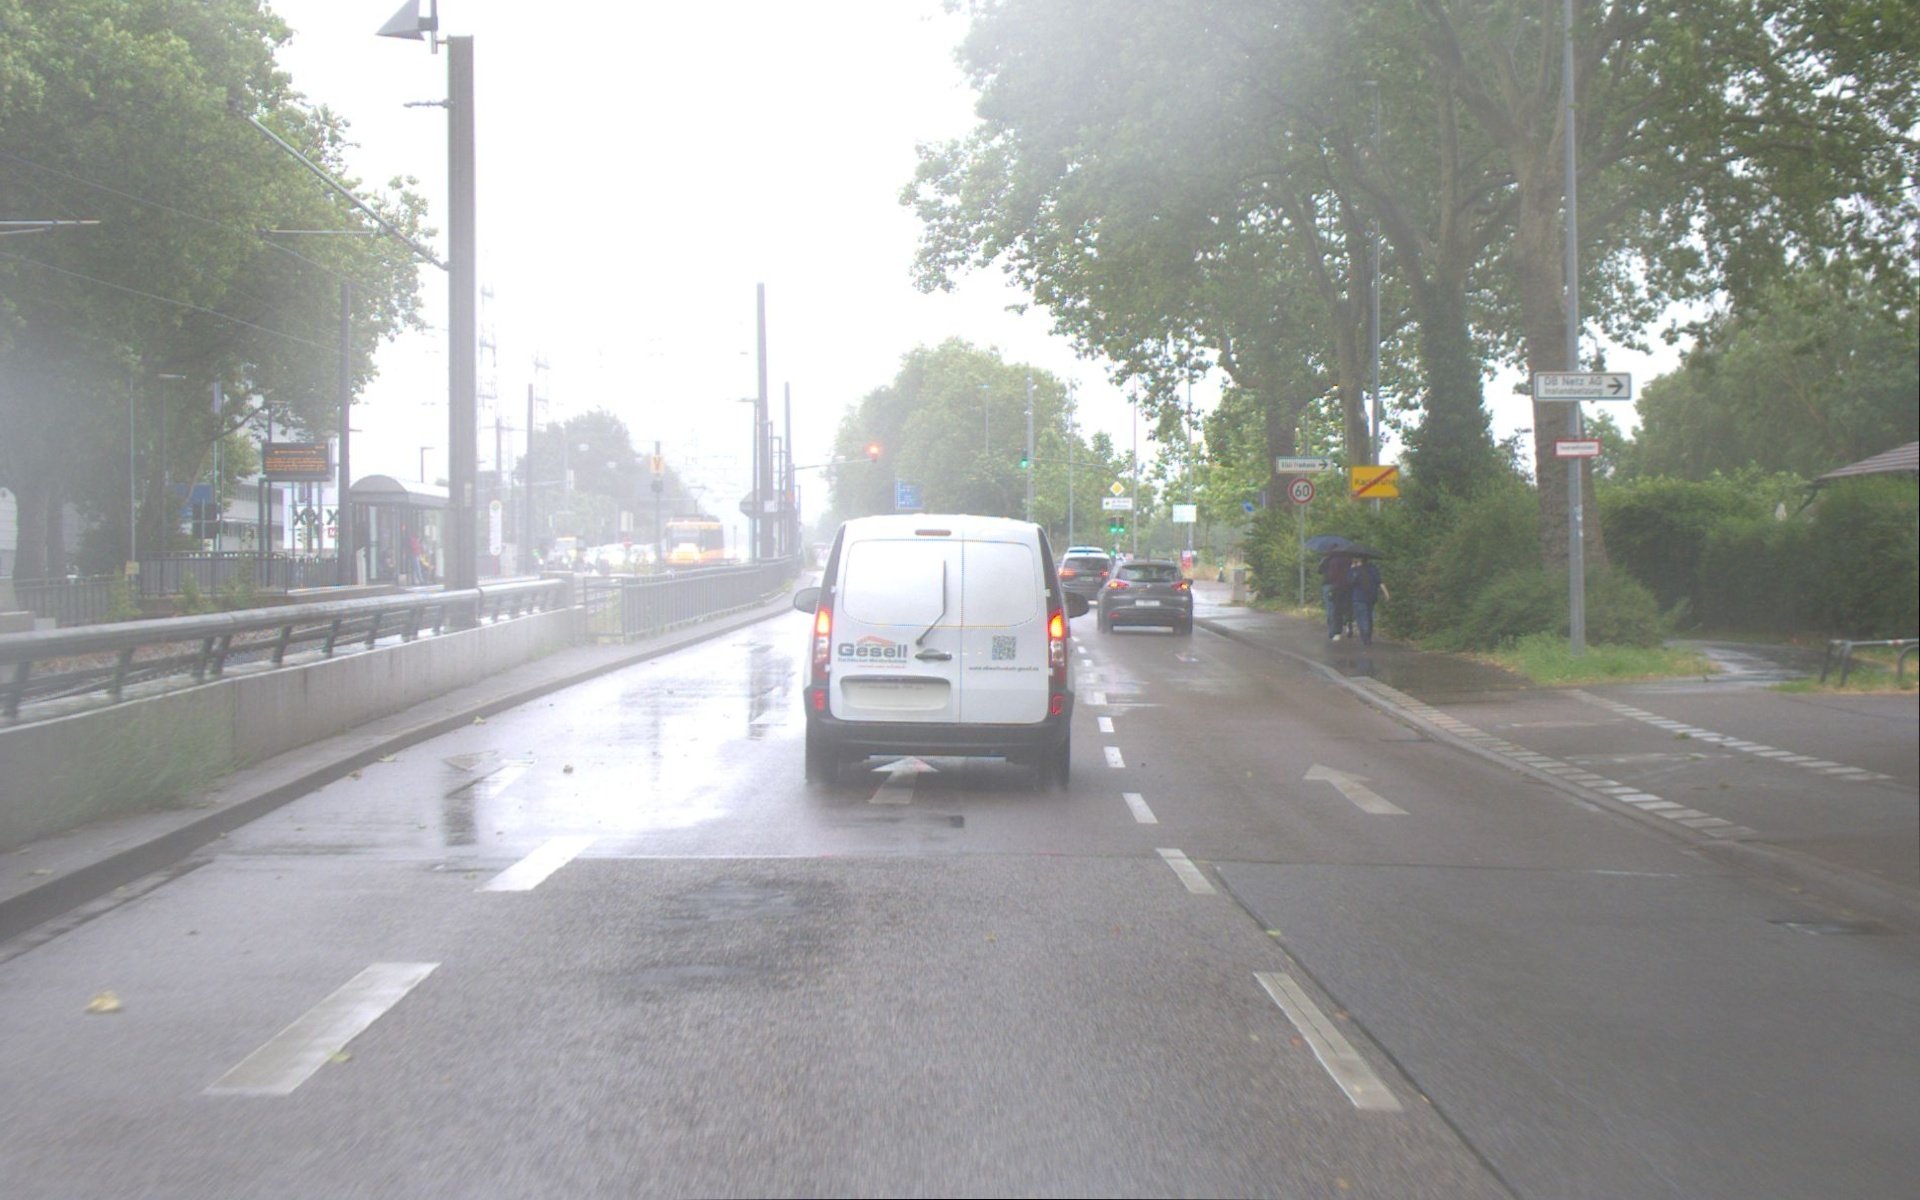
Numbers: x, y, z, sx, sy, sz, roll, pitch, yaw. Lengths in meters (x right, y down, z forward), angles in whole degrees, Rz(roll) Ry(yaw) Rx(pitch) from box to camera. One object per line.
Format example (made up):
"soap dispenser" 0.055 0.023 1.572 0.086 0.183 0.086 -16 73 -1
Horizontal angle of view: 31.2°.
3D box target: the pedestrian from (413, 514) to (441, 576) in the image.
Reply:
"pedestrian" -16.715 -1.715 107.770 0.621 1.926 0.814 2 0 4

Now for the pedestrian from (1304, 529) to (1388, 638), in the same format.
"pedestrian" 6.628 -0.286 59.108 1.240 1.779 1.147 -3 0 1

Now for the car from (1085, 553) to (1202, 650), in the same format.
"car" 3.504 0.005 66.189 1.993 1.744 4.000 2 1 0

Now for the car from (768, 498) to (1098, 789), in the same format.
"car" -0.250 0.251 23.884 2.024 1.769 4.275 2 1 -2

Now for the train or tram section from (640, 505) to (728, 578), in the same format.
"train or tram section" -16.566 -3.487 208.541 3.770 4.023 27.095 2 1 -2

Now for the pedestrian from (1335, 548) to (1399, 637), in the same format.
"pedestrian" 6.493 -0.128 54.935 0.892 1.385 1.016 -1 0 1

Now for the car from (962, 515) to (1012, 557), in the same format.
"car" 1.159 -2.768 149.826 1.993 1.744 4.000 2 1 -1

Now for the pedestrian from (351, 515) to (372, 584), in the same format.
"pedestrian" -17.650 -1.477 101.353 0.493 2.007 0.583 2 0 -6

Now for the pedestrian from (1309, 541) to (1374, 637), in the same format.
"pedestrian" 6.353 -0.191 57.317 0.947 1.583 1.294 0 0 1

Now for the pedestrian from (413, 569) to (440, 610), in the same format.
"pedestrian" -17.569 -0.345 113.228 0.643 1.298 0.814 2 0 4
